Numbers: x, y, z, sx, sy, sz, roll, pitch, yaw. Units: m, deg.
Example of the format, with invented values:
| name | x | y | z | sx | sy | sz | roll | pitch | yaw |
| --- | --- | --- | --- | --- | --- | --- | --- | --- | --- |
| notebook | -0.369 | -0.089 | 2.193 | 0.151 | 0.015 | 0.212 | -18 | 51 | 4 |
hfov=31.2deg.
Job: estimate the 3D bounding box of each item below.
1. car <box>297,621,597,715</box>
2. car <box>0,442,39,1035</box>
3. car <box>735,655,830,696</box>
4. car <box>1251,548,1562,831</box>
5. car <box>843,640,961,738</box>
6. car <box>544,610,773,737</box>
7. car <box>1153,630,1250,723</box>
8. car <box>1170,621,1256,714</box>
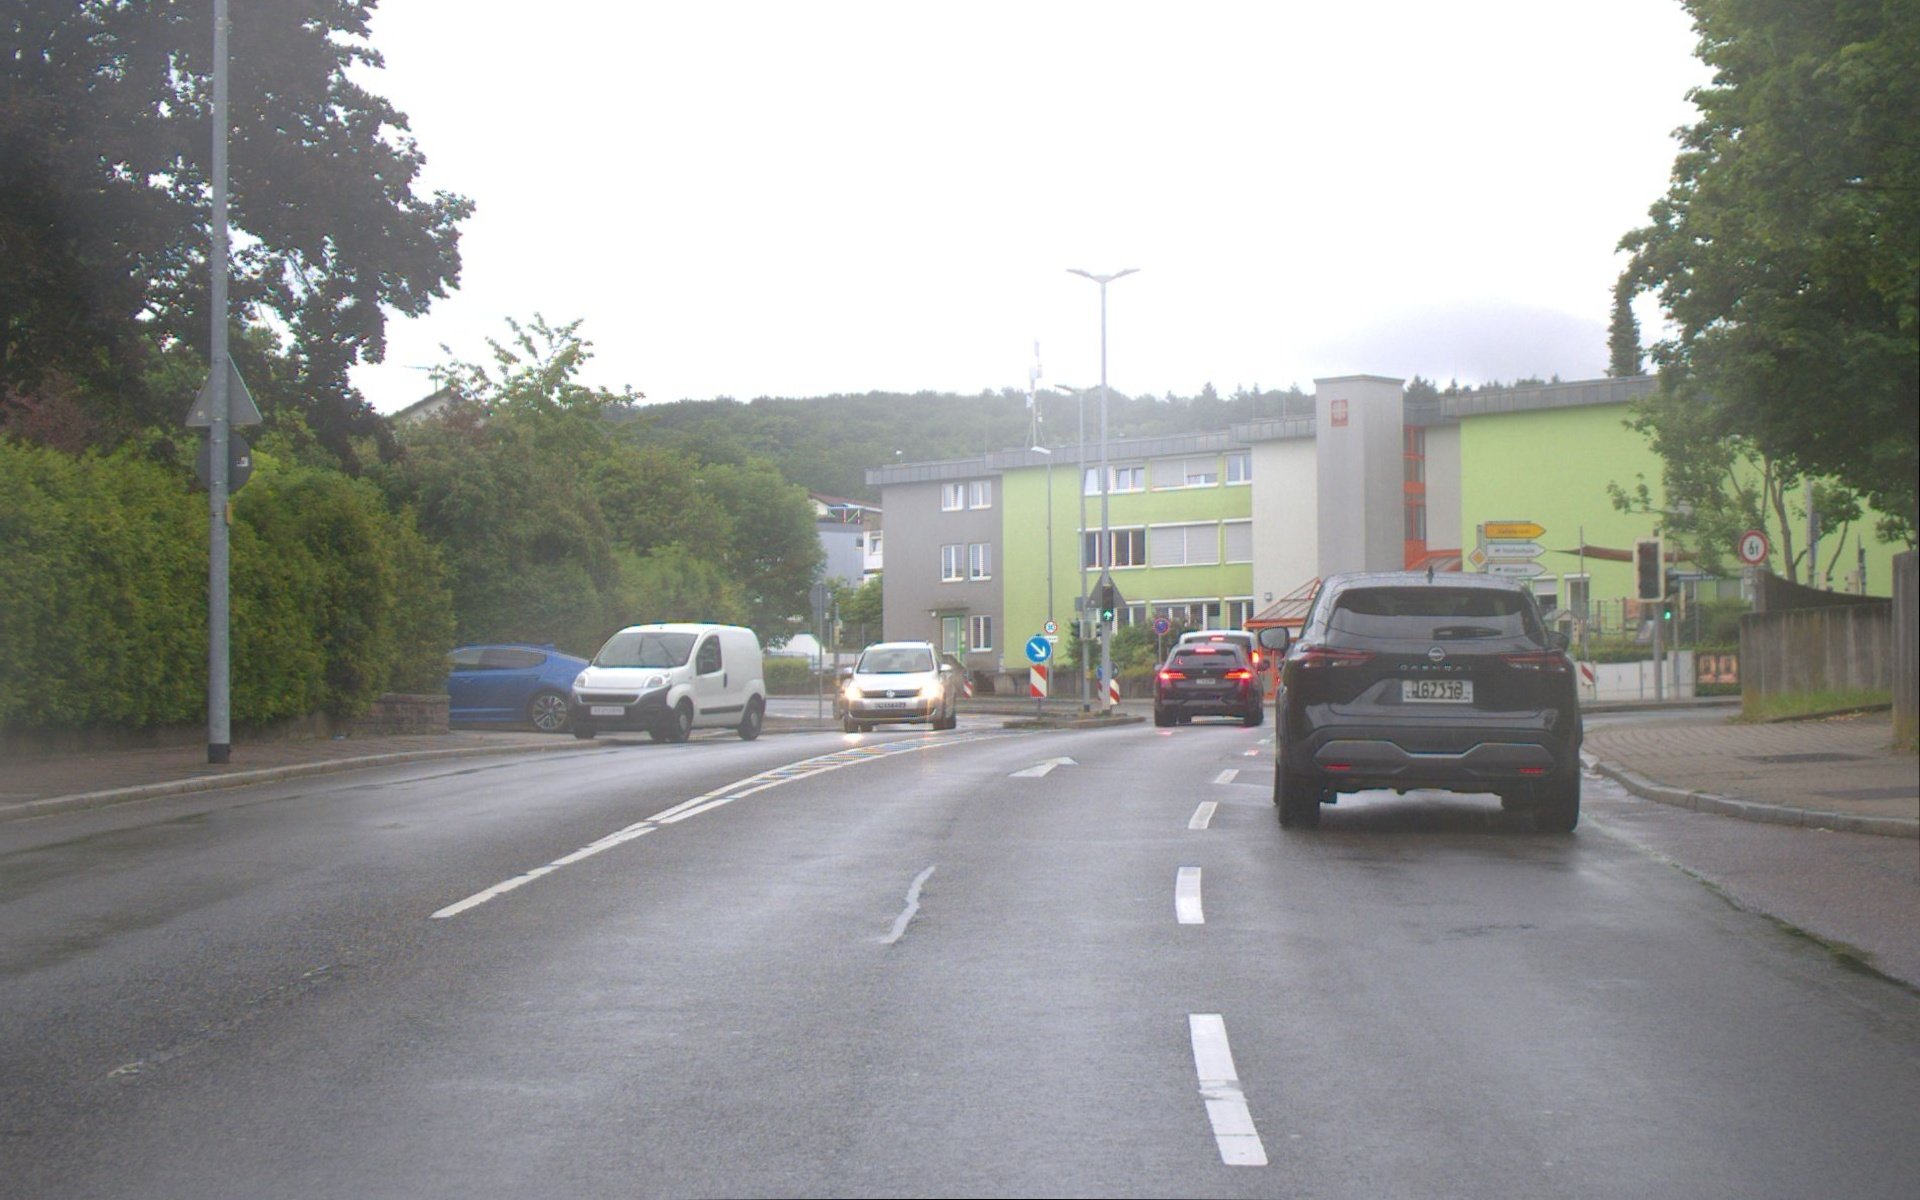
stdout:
| name | x | y | z | sx | sy | sz | roll | pitch | yaw |
| --- | --- | --- | --- | --- | --- | --- | --- | --- | --- |
| car | -8.129 | 1.067 | 54.771 | 4.482 | 1.357 | 1.805 | 1 | 0 | 0 |
| car | -4.101 | 0.509 | 8.931 | 1.863 | 1.910 | 5.029 | -2 | 1 | 2 |
| car | -8.749 | 3.733 | 169.563 | 4.393 | 1.766 | 2.000 | -3 | -2 | -10 |
| car | 2.881 | 0.492 | 22.330 | 1.790 | 1.598 | 4.252 | 1 | 1 | 7 |
| car | -0.992 | 1.542 | 60.613 | 1.635 | 1.574 | 4.056 | -3 | -1 | 4 |
| car | -4.331 | 1.081 | 49.994 | 1.702 | 1.702 | 3.974 | 2 | -1 | 20 |
| car | 4.461 | 1.377 | 63.102 | 1.683 | 1.501 | 3.773 | 1 | 1 | 5 |
| car | 5.284 | 1.384 | 71.524 | 1.717 | 1.838 | 4.086 | 1 | 0 | 5 |
